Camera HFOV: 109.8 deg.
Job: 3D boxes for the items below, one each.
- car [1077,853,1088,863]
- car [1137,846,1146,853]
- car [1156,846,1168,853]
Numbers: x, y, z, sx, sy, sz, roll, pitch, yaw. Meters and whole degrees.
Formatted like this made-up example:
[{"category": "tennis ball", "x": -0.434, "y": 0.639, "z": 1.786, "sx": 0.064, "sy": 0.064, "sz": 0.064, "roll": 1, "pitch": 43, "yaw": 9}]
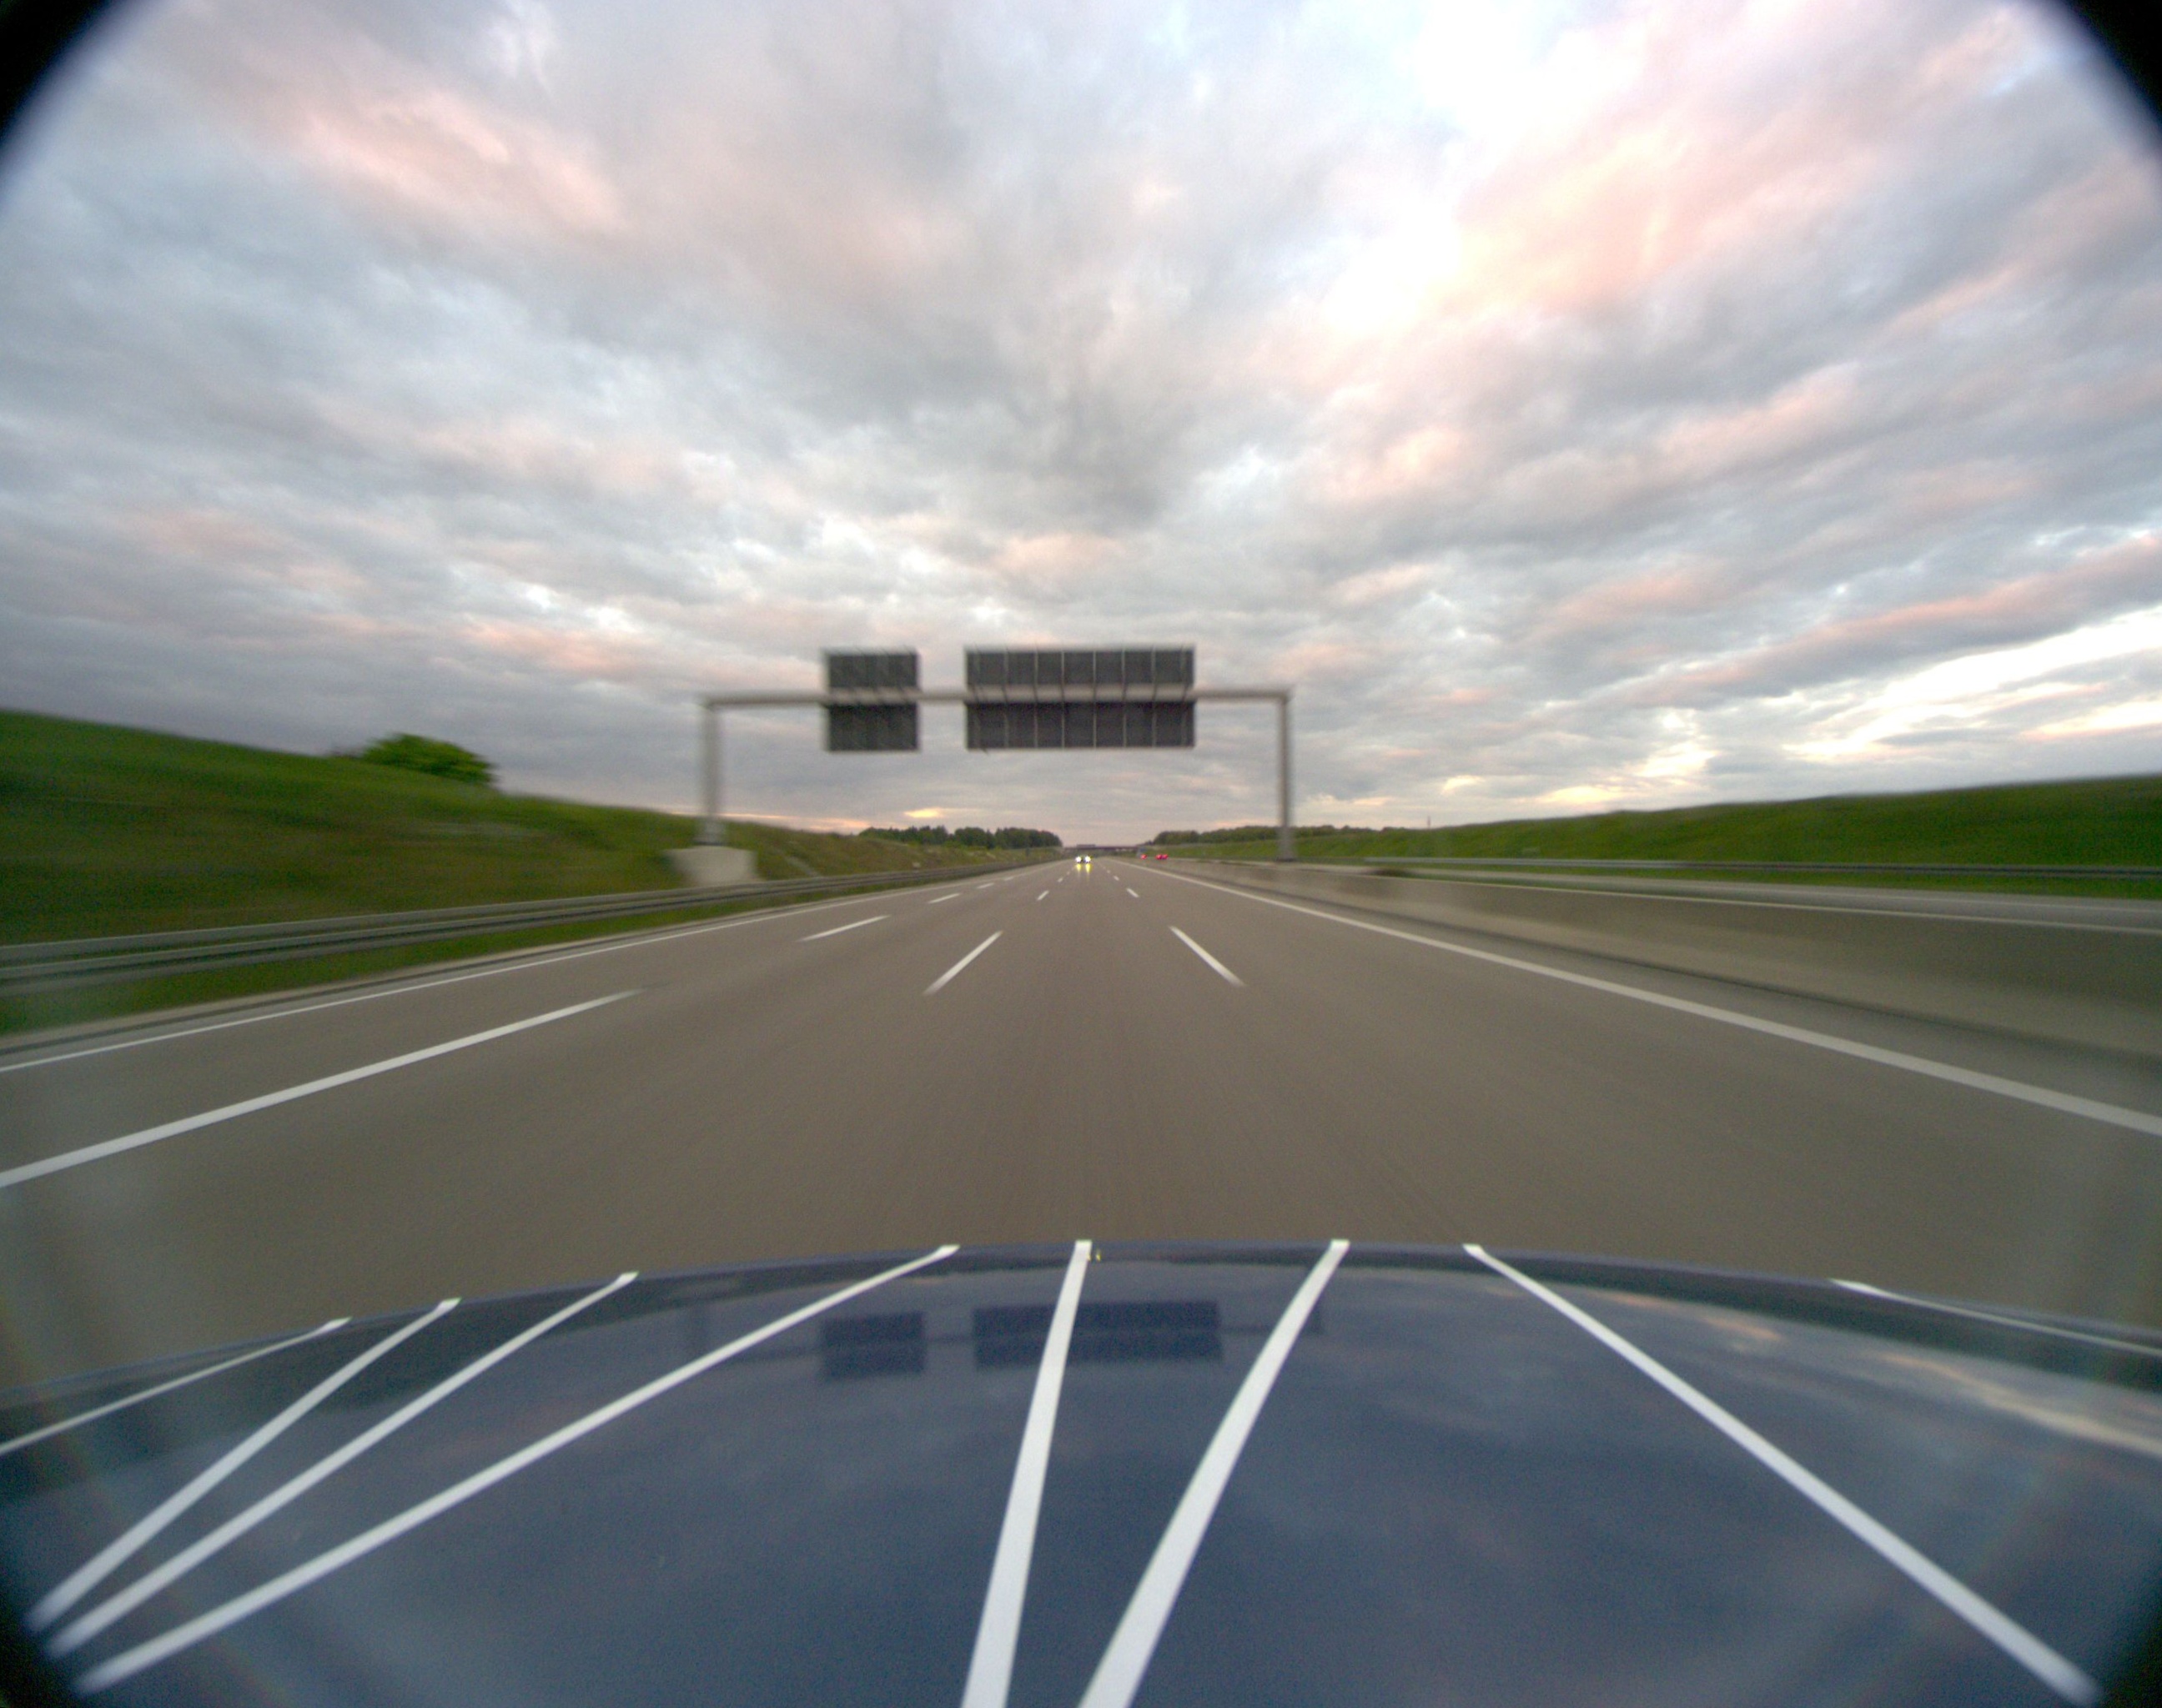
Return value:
[{"category": "car", "x": 0.303, "y": 0.693, "z": 128.941, "sx": 1.801, "sy": 1.674, "sz": 4.385, "roll": -1, "pitch": 1, "yaw": 1}, {"category": "car", "x": 13.458, "y": -1.042, "z": 168.875, "sx": 1.753, "sy": 1.588, "sz": 4.643, "roll": -2, "pitch": 0, "yaw": 1}, {"category": "car", "x": 17.585, "y": -1.012, "z": 164.485, "sx": 2.008, "sy": 1.578, "sz": 4.572, "roll": -1, "pitch": 0, "yaw": -1}]
